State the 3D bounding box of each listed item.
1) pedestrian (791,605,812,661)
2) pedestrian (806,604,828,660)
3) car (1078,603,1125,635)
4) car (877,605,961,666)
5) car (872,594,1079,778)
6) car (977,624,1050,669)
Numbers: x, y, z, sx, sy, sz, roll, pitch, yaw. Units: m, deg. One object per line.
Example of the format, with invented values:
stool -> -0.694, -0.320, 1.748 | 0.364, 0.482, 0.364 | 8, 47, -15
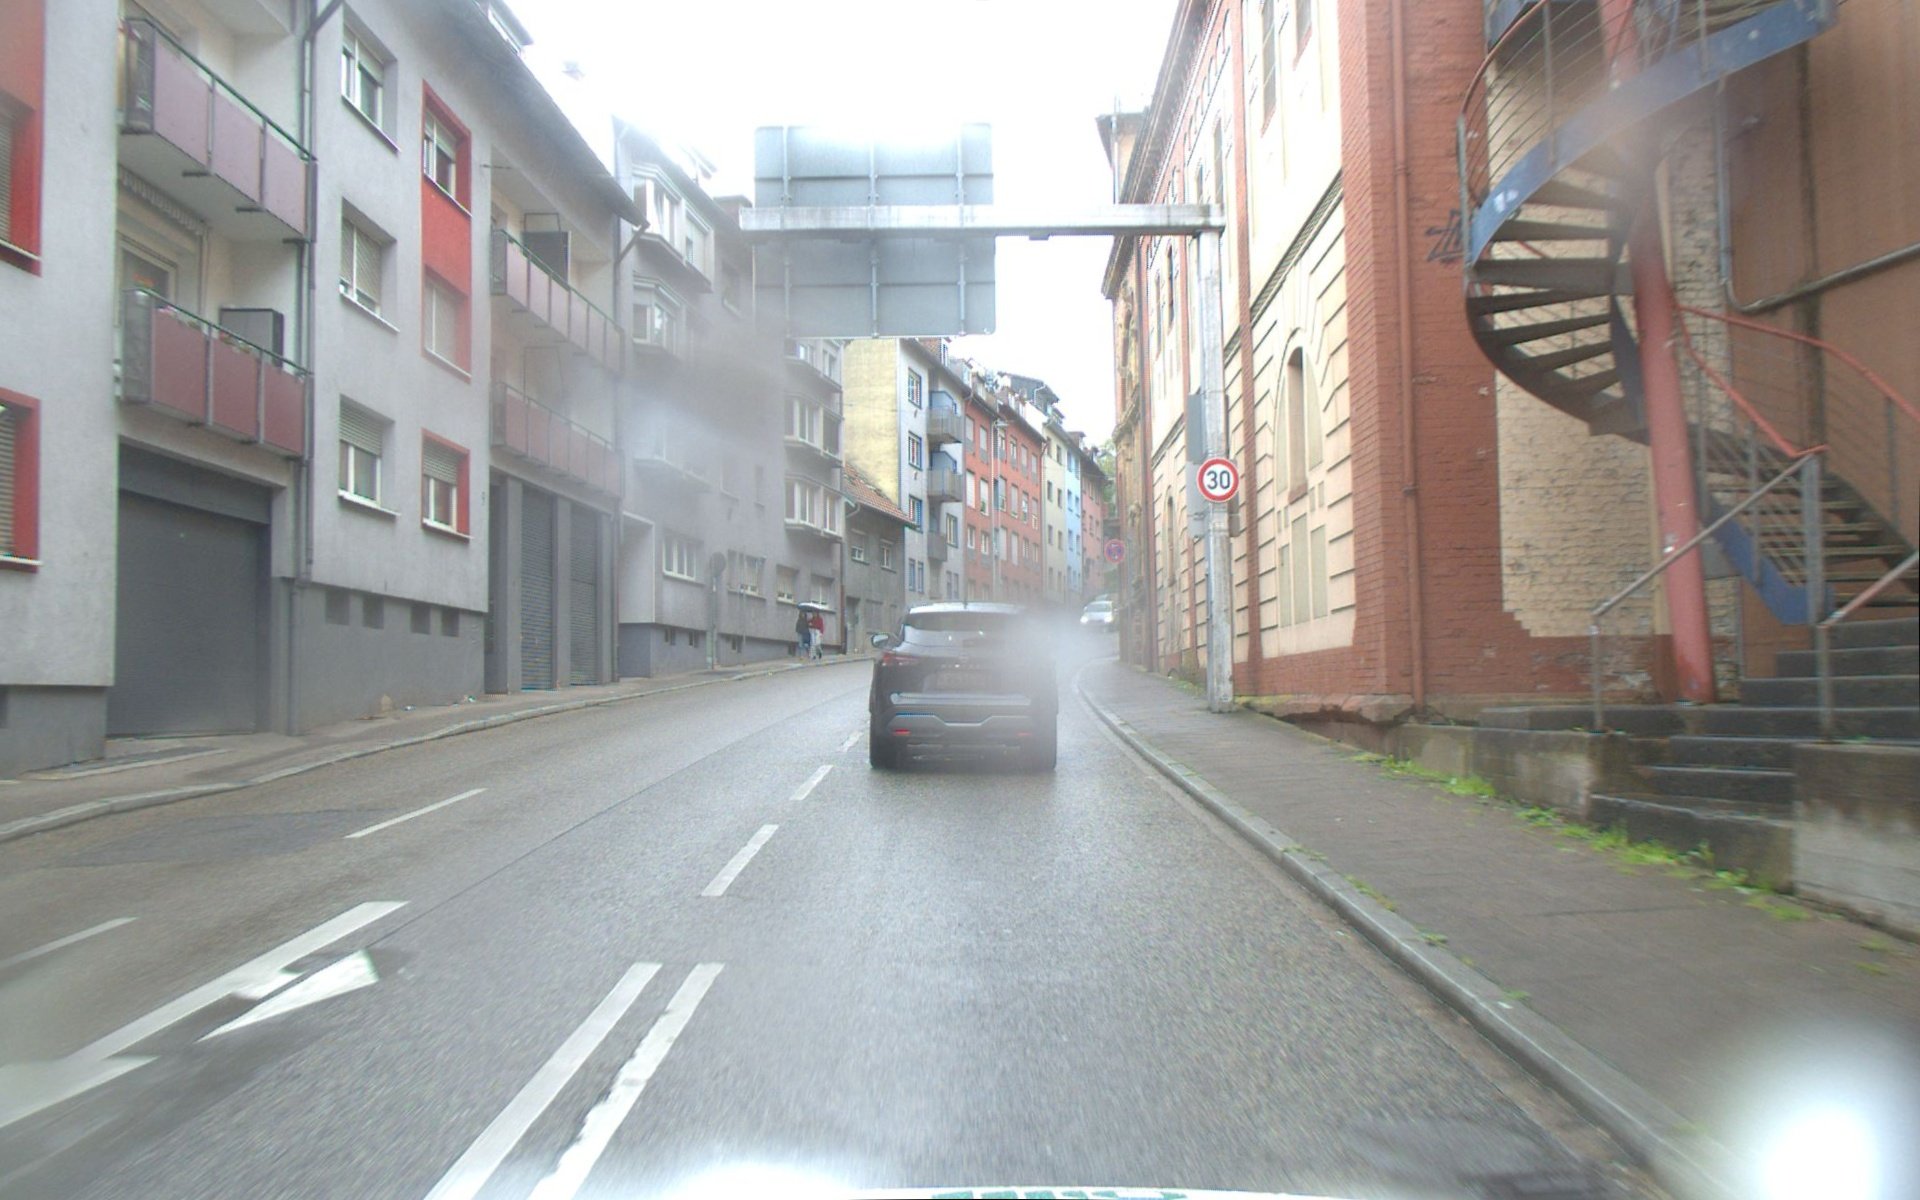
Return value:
pedestrian -> -5.234, 1.077, 54.591 | 0.512, 1.807, 0.623 | -3, 0, 7
pedestrian -> -4.709, 1.056, 54.525 | 0.512, 1.807, 0.623 | -3, 0, 7
car -> 7.605, 1.019, 88.704 | 1.727, 1.604, 4.039 | -3, -1, 16
car -> -1.170, 1.040, 49.136 | 1.726, 1.687, 3.990 | -2, -1, 9
car -> 0.119, 0.802, 16.899 | 1.843, 1.622, 3.920 | 1, -1, -1
car -> 2.008, 1.741, 61.278 | 1.756, 1.537, 4.002 | -3, -3, 15
